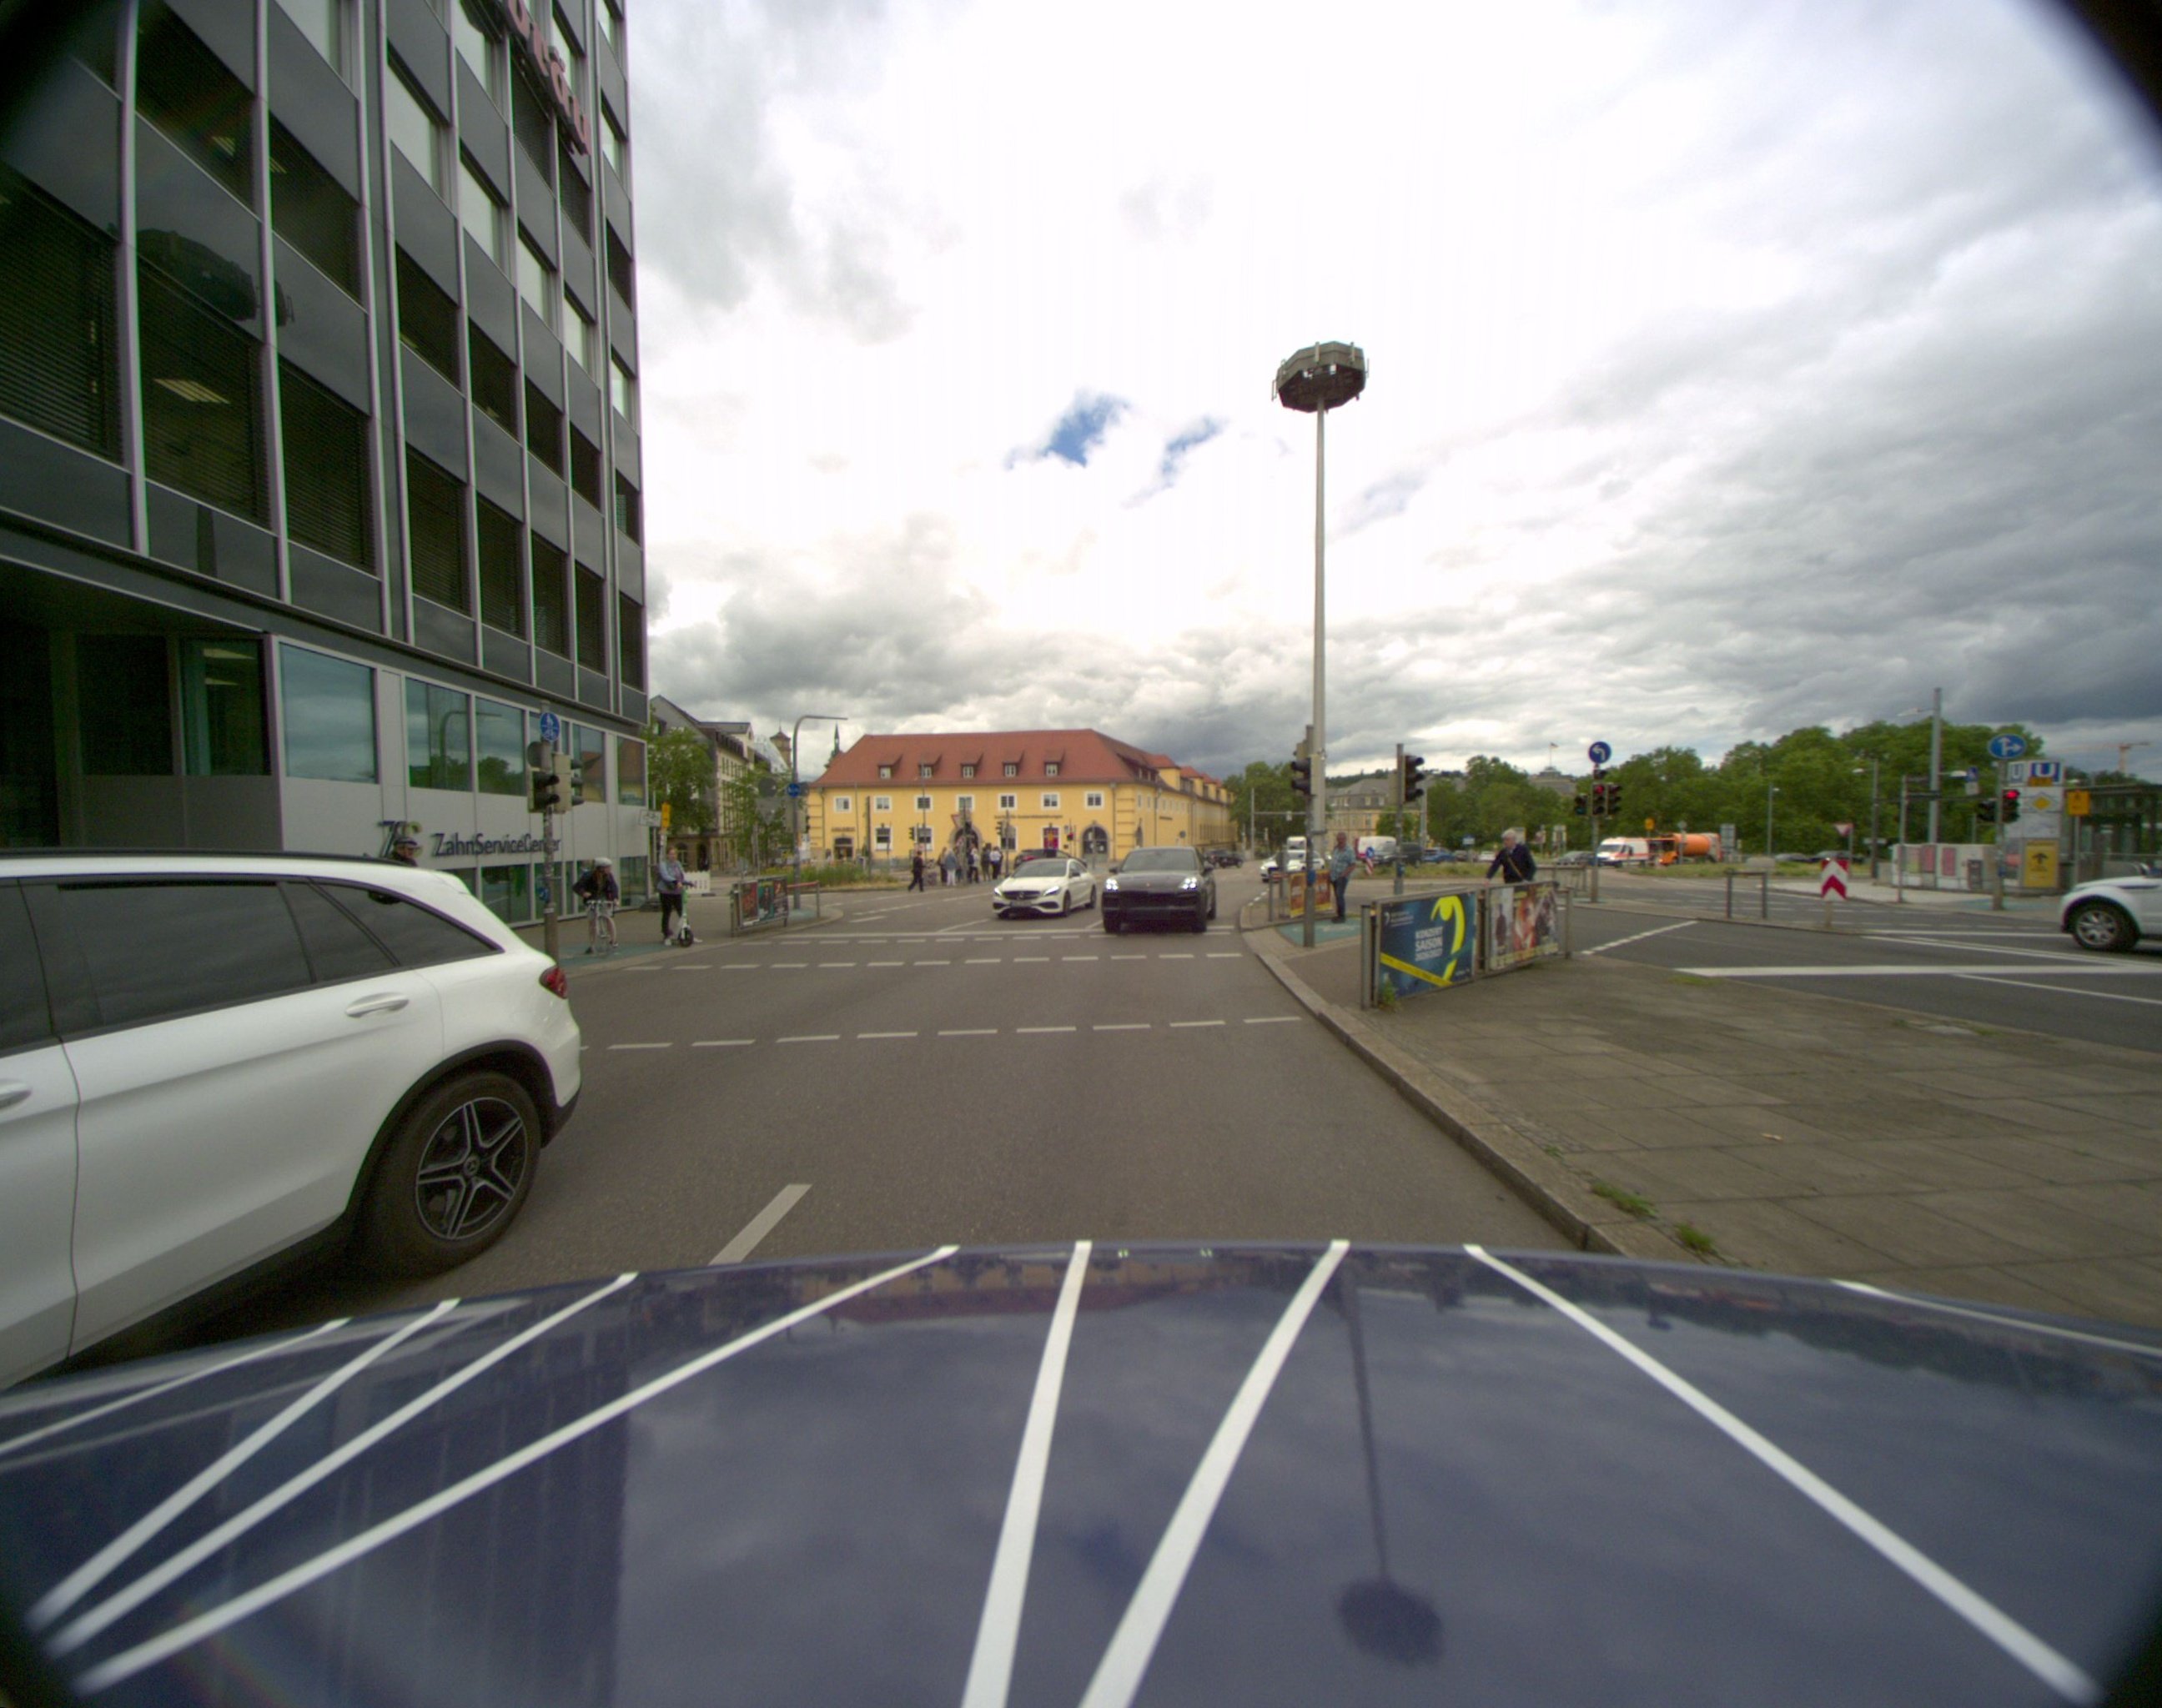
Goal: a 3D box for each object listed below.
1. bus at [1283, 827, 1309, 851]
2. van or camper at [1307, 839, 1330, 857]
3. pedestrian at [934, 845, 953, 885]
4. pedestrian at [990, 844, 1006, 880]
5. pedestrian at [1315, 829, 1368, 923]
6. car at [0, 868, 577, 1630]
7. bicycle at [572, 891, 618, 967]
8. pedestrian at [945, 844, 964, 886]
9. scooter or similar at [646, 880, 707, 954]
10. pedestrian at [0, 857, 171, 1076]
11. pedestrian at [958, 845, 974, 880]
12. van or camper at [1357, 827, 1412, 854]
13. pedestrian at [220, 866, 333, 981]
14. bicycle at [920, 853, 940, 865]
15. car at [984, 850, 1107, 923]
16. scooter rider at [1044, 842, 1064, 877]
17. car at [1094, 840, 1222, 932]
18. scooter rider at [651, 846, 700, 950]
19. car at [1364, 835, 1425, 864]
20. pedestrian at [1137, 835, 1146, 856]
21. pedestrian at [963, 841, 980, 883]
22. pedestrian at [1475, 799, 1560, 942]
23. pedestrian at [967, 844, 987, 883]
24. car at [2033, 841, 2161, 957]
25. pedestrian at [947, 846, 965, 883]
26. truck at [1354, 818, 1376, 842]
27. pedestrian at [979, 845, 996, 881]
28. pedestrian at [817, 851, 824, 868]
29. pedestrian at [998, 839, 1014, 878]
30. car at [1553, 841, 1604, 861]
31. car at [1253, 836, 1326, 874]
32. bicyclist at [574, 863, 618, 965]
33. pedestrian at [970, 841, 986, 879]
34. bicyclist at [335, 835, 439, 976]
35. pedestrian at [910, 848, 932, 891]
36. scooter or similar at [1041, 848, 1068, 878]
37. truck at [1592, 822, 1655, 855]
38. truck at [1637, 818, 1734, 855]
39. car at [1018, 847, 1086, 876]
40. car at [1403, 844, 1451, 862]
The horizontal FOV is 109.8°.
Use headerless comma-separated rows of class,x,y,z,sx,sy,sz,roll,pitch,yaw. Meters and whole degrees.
bus,31.573,-2.193,111.108,3.428,3.185,13.077,-1,1,17
van or camper,30.912,-0.806,98.774,2.369,2.249,6.297,1,1,21
pedestrian,-6.254,0.506,34.664,0.670,1.805,0.701,-2,1,-24
pedestrian,-4.157,0.394,38.020,0.611,1.787,0.641,-2,1,-26
pedestrian,5.136,0.435,15.005,0.717,1.780,0.634,3,0,-3
car,-3.344,0.925,1.403,1.806,1.637,4.334,1,1,2
bicycle,-7.872,1.174,12.344,0.582,1.021,1.665,-1,2,-32
pedestrian,-5.674,0.485,34.107,0.670,1.852,0.701,-2,1,-24
scooter or similar,-7.241,1.099,13.587,0.594,1.169,1.319,-1,3,-44
pedestrian,-8.384,0.896,6.387,0.526,1.702,0.752,1,3,-8
pedestrian,-5.633,0.425,37.192,0.611,1.686,0.641,-2,1,-26
van or camper,28.769,-1.303,71.992,6.173,2.463,2.141,-2,1,-40
pedestrian,-10.615,0.893,10.057,0.606,1.434,0.838,0,1,-7
bicycle,-14.292,0.455,71.839,1.770,1.079,0.621,-1,1,7
car,-0.755,0.742,19.861,1.868,1.560,4.656,0,1,15
scooter rider,-1.324,0.255,36.993,0.767,1.684,0.745,-1,1,-19
car,1.812,0.537,16.026,2.002,1.629,5.025,-1,1,14
scooter rider,-7.250,0.757,13.589,0.594,1.798,0.641,-1,3,-44
car,22.349,-0.339,54.058,4.650,1.977,1.855,-1,3,-37
pedestrian,5.509,-0.802,69.495,0.639,1.884,0.557,0,1,-14
pedestrian,-5.174,0.358,35.834,0.611,1.954,0.641,-2,2,-26
pedestrian,6.868,0.235,11.974,0.880,2.160,0.761,-1,2,-21
pedestrian,-4.805,0.425,35.106,0.670,1.751,0.762,-2,1,-24
car,15.574,0.627,9.637,1.738,1.589,4.319,0,1,5
pedestrian,-5.893,0.480,35.788,0.611,1.686,0.641,-2,1,-26
truck,44.105,-3.659,118.150,2.786,3.470,8.360,1,1,18
pedestrian,-4.480,0.410,36.521,0.611,1.686,0.641,-2,1,-26
pedestrian,-25.426,0.521,74.050,0.493,1.581,0.552,-2,2,-34
pedestrian,-3.863,0.224,39.089,0.611,1.944,0.641,-2,1,-23
car,45.003,-0.291,68.802,3.742,1.729,1.858,0,1,-16
car,9.734,0.095,35.263,2.091,1.599,4.422,-3,-2,31
bicyclist,-7.783,0.933,12.212,0.566,1.541,0.844,-1,2,-32
pedestrian,-5.204,0.280,38.372,0.611,1.899,0.641,-2,2,-26
bicyclist,-9.455,0.676,10.367,0.812,1.835,0.676,-1,1,18
pedestrian,-6.475,0.618,30.716,0.803,1.688,0.547,-1,2,-21
scooter or similar,-1.315,0.403,36.984,0.777,1.398,1.885,-1,1,-19
truck,46.898,-1.273,65.673,5.797,2.768,1.952,0,1,-27
truck,60.835,-1.702,76.440,9.183,3.595,2.725,0,0,-15
car,-1.685,0.414,43.329,3.809,1.567,1.999,0,1,-5
car,30.858,-0.091,67.682,4.636,1.474,1.944,-1,0,-38
